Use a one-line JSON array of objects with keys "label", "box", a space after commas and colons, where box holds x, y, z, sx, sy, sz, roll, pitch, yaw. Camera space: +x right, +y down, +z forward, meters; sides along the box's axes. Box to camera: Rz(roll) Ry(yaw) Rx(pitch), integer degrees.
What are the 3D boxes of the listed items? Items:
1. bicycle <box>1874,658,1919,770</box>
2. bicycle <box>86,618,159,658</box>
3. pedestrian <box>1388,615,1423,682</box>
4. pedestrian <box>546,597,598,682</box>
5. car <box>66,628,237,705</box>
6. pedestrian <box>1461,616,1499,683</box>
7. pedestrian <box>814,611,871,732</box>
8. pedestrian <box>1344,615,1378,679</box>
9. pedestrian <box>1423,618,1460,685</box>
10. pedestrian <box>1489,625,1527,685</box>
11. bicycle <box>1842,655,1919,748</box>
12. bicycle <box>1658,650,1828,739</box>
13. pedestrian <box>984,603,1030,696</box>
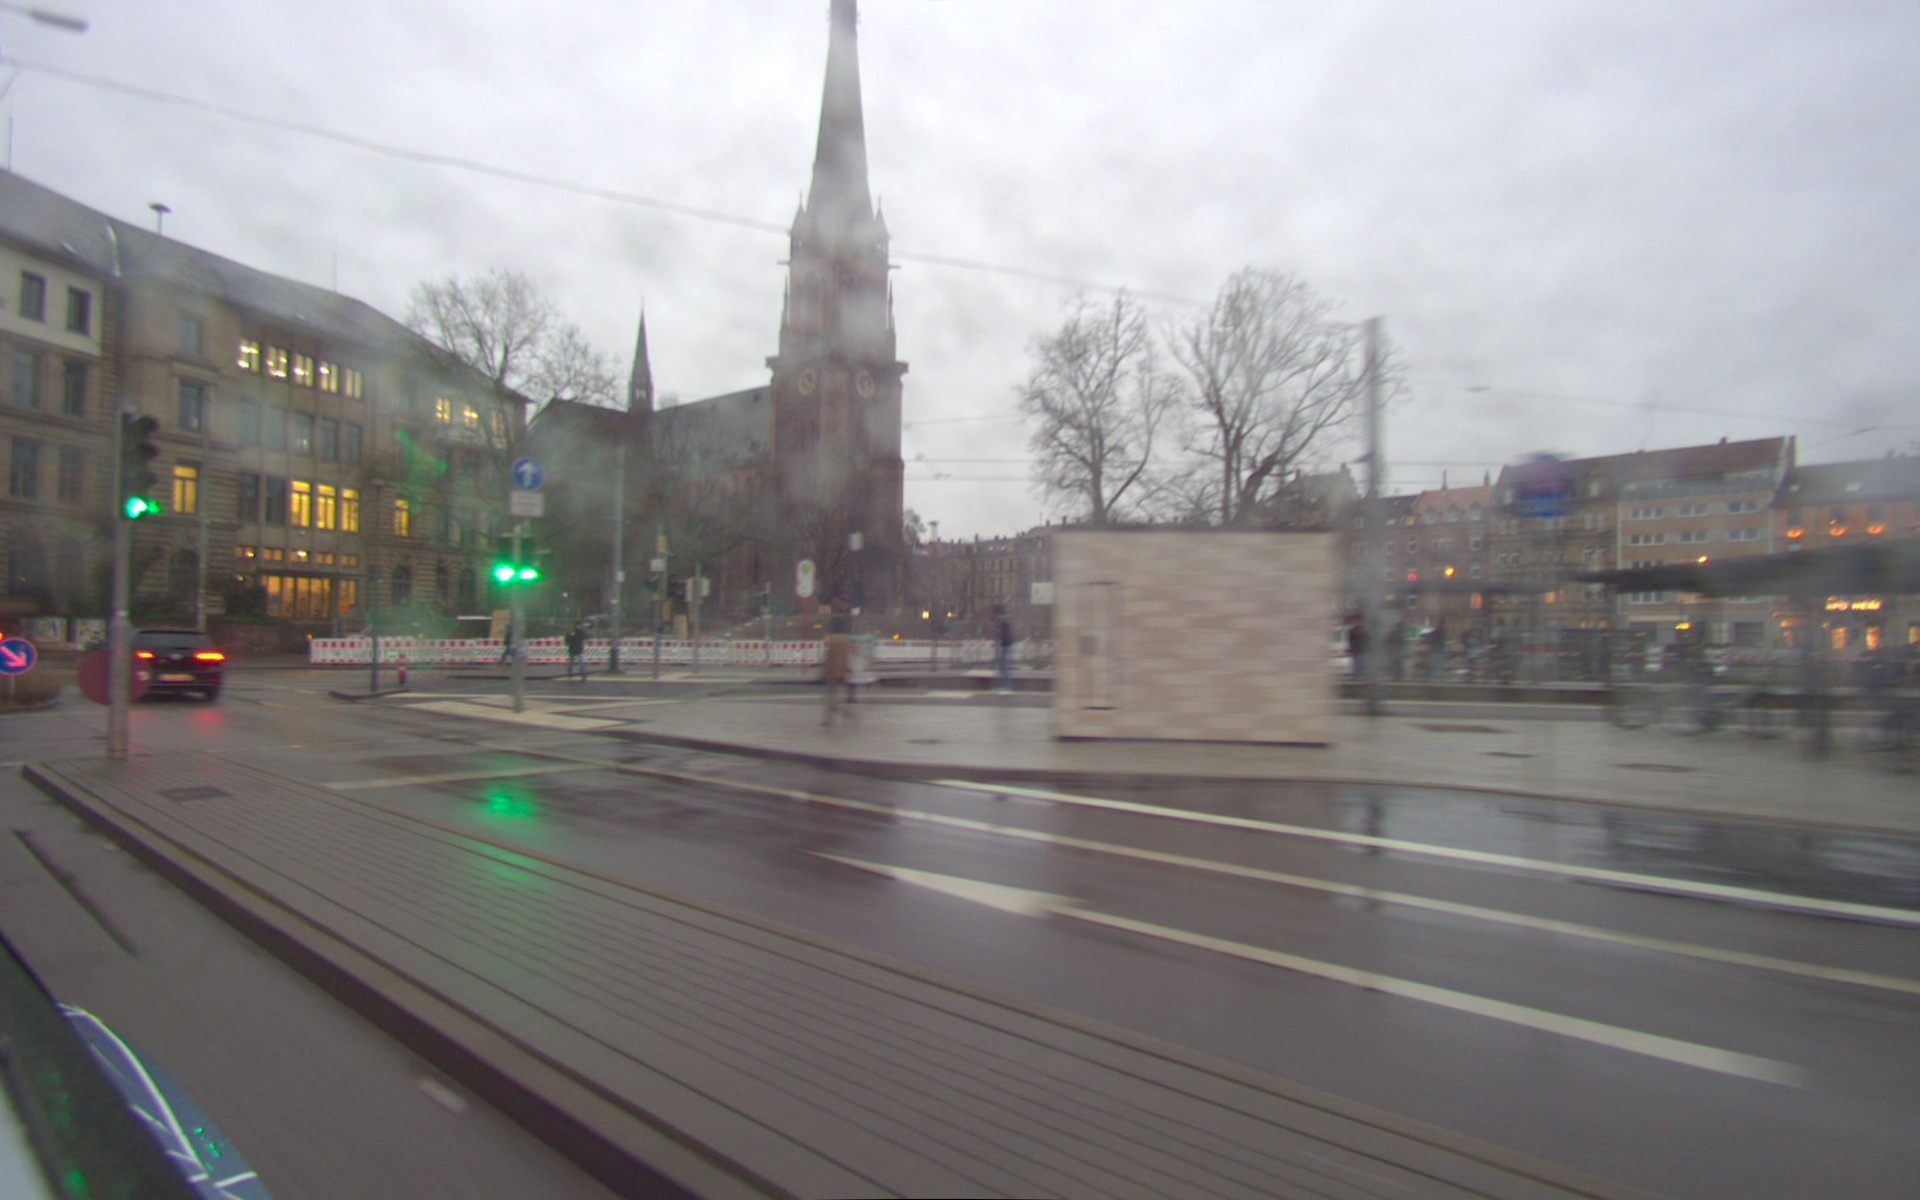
[{"label": "bicycle", "box": [11.208, 1.256, 10.978, 1.878, 1.174, 0.548, 1, 0, 11]}, {"label": "bicycle", "box": [-37.000, 1.674, 44.742, 2.388, 1.701, 0.715, 0, 1, -33]}, {"label": "pedestrian", "box": [12.480, 1.342, 28.367, 0.708, 1.820, 0.713, 1, 0, 6]}, {"label": "pedestrian", "box": [-11.307, 1.127, 29.515, 1.062, 2.388, 0.984, 1, 0, 36]}, {"label": "car", "box": [-16.246, 1.287, 20.271, 4.361, 1.389, 1.729, -2, -4, 39]}, {"label": "pedestrian", "box": [14.393, 1.353, 28.047, 0.708, 1.820, 0.713, 1, 0, 6]}, {"label": "pedestrian", "box": [-1.720, 1.015, 14.748, 0.663, 1.686, 0.732, 1, 0, -18]}, {"label": "pedestrian", "box": [11.303, 1.303, 28.555, 0.708, 1.770, 0.713, 1, 0, 6]}, {"label": "pedestrian", "box": [13.346, 1.425, 28.086, 0.708, 1.820, 0.713, 1, 0, 6]}, {"label": "pedestrian", "box": [15.326, 1.534, 28.322, 0.708, 1.630, 0.713, 1, 0, 6]}, {"label": "bicycle", "box": [13.002, 1.361, 13.455, 1.878, 1.174, 0.548, 1, 0, 11]}, {"label": "bicycle", "box": [11.359, 1.356, 14.732, 1.878, 1.174, 0.548, 1, 0, 11]}, {"label": "pedestrian", "box": [0.967, 0.986, 20.570, 0.818, 1.827, 0.602, 1, 0, 15]}]
